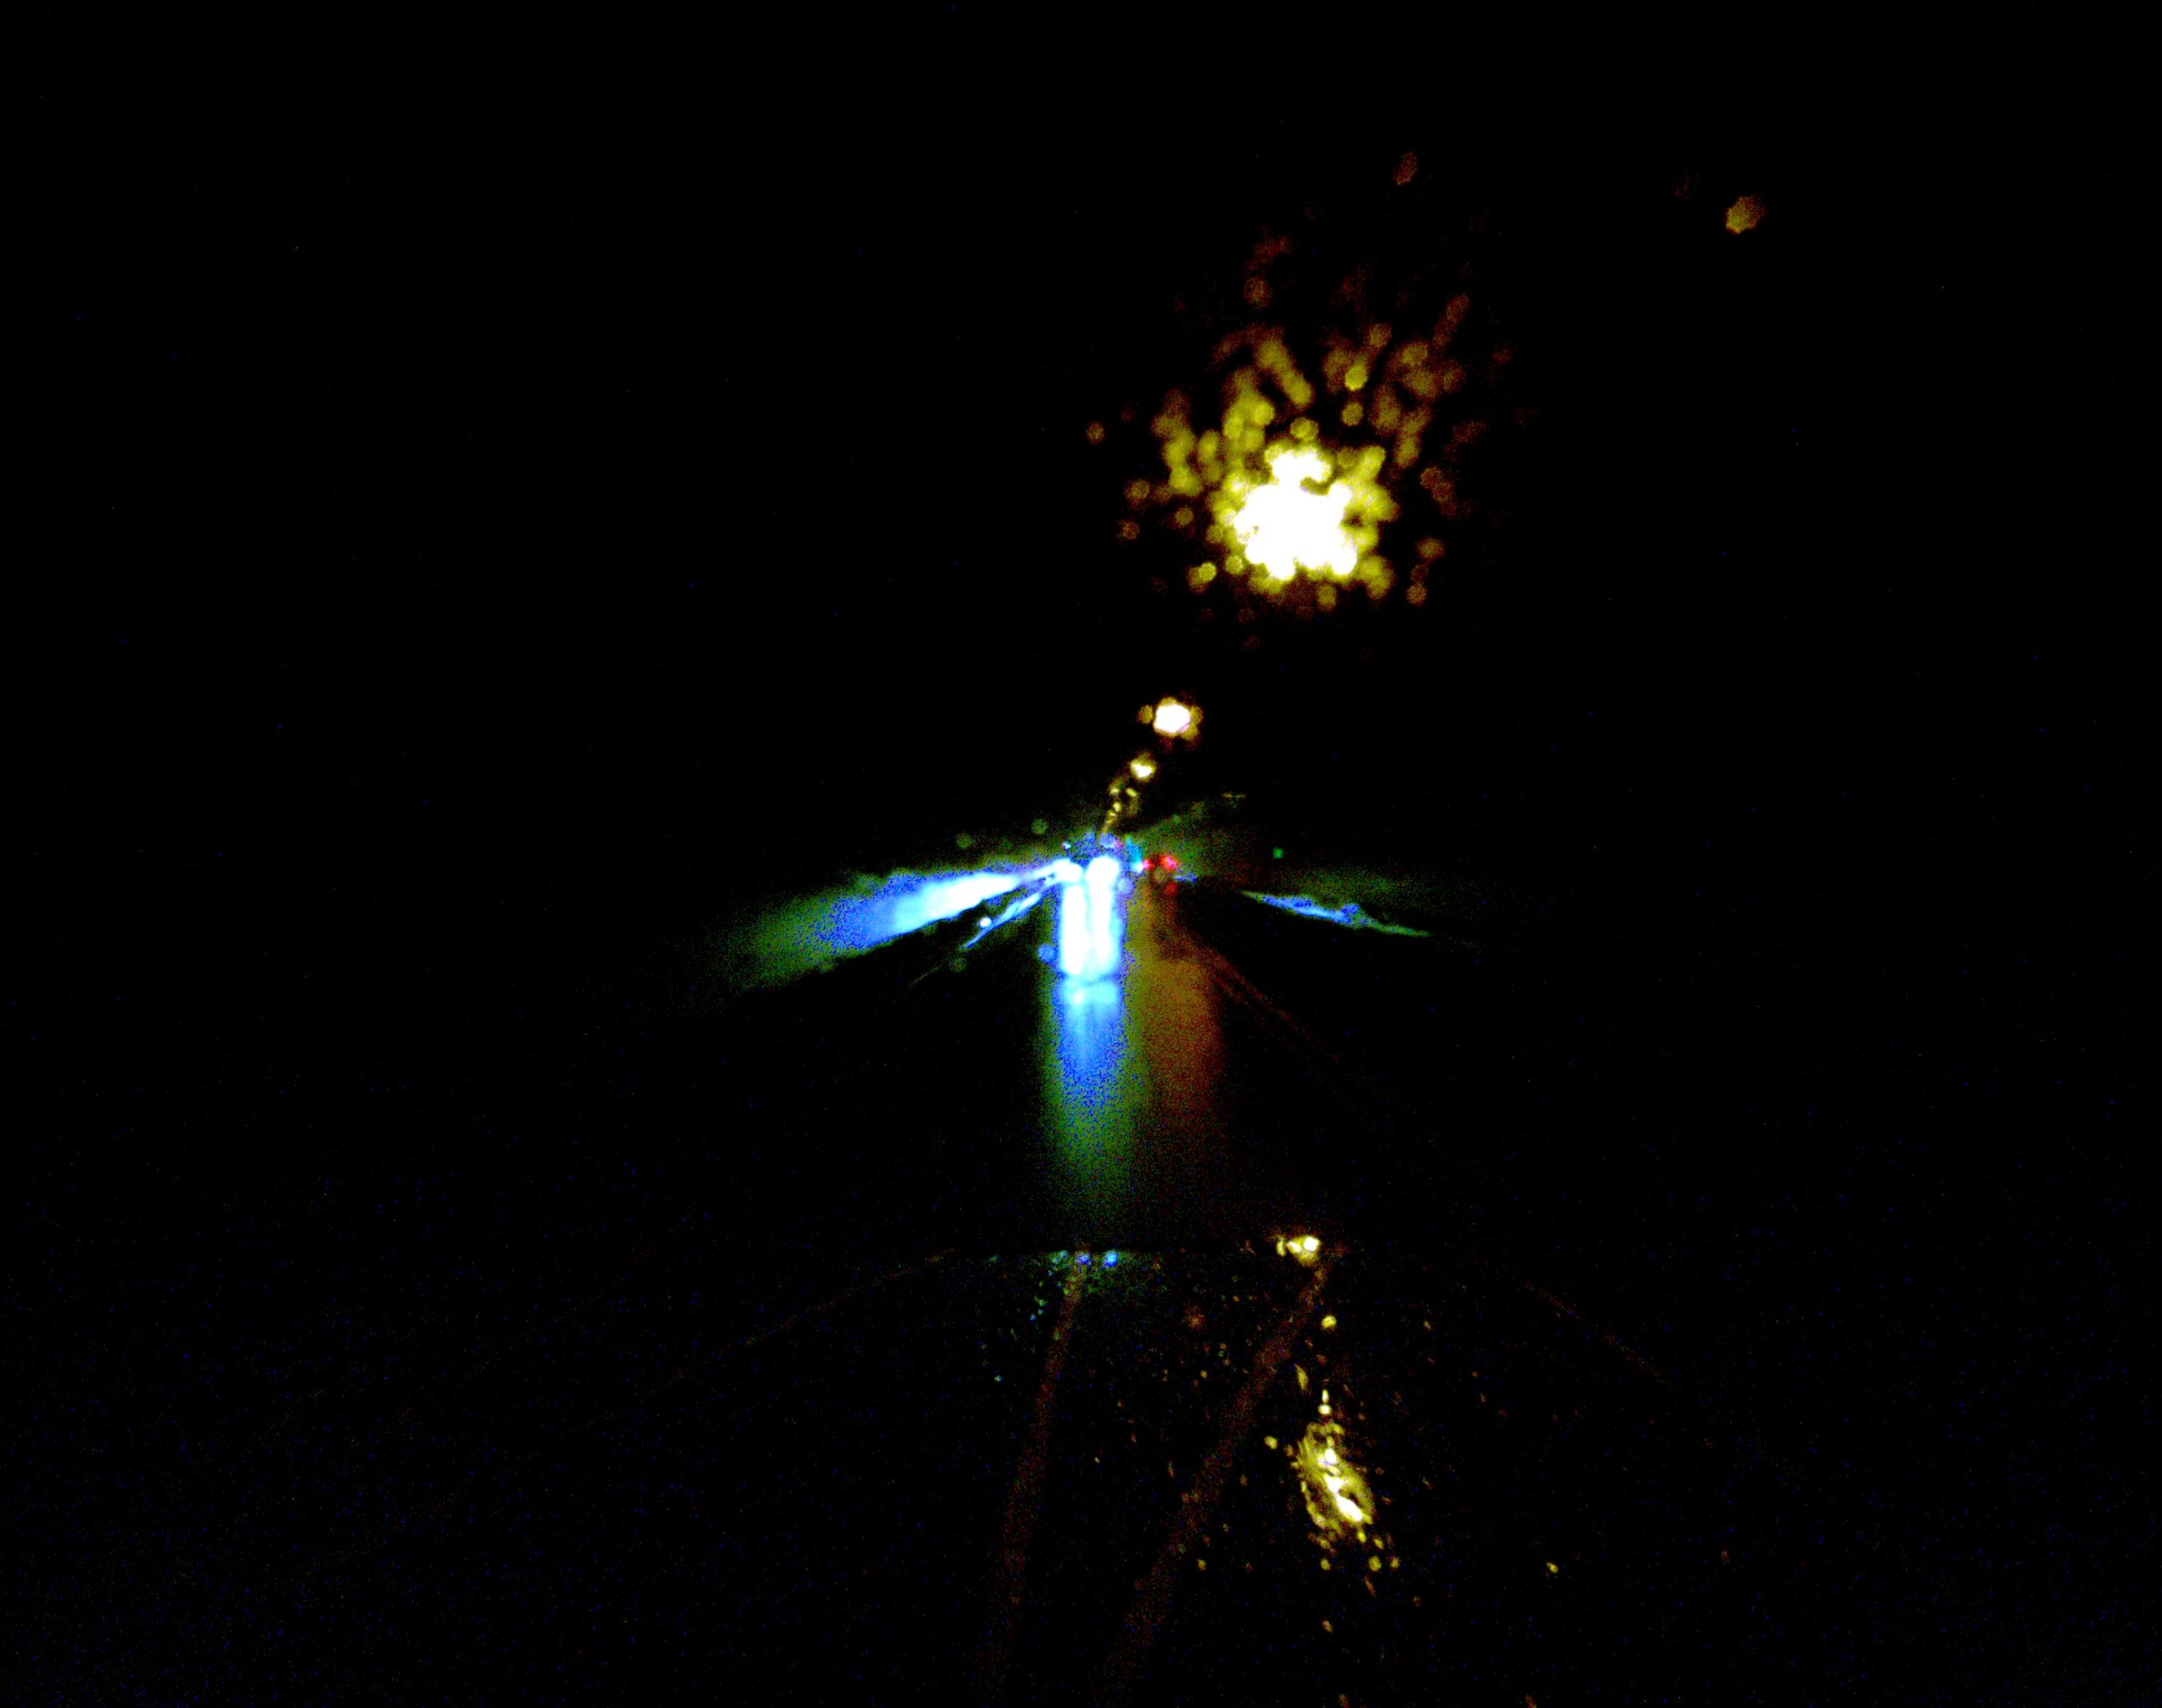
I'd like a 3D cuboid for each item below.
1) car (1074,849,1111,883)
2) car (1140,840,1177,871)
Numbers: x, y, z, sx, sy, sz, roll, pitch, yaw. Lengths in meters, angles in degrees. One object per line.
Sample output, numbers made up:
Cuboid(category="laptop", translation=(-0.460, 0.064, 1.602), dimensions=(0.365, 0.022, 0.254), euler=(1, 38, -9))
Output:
Cuboid(category="car", translation=(0.646, 0.576, 39.987), dimensions=(1.730, 1.596, 4.000), euler=(-3, 1, 2))
Cuboid(category="car", translation=(4.501, 0.040, 44.436), dimensions=(1.888, 1.596, 4.000), euler=(-3, 1, 3))
